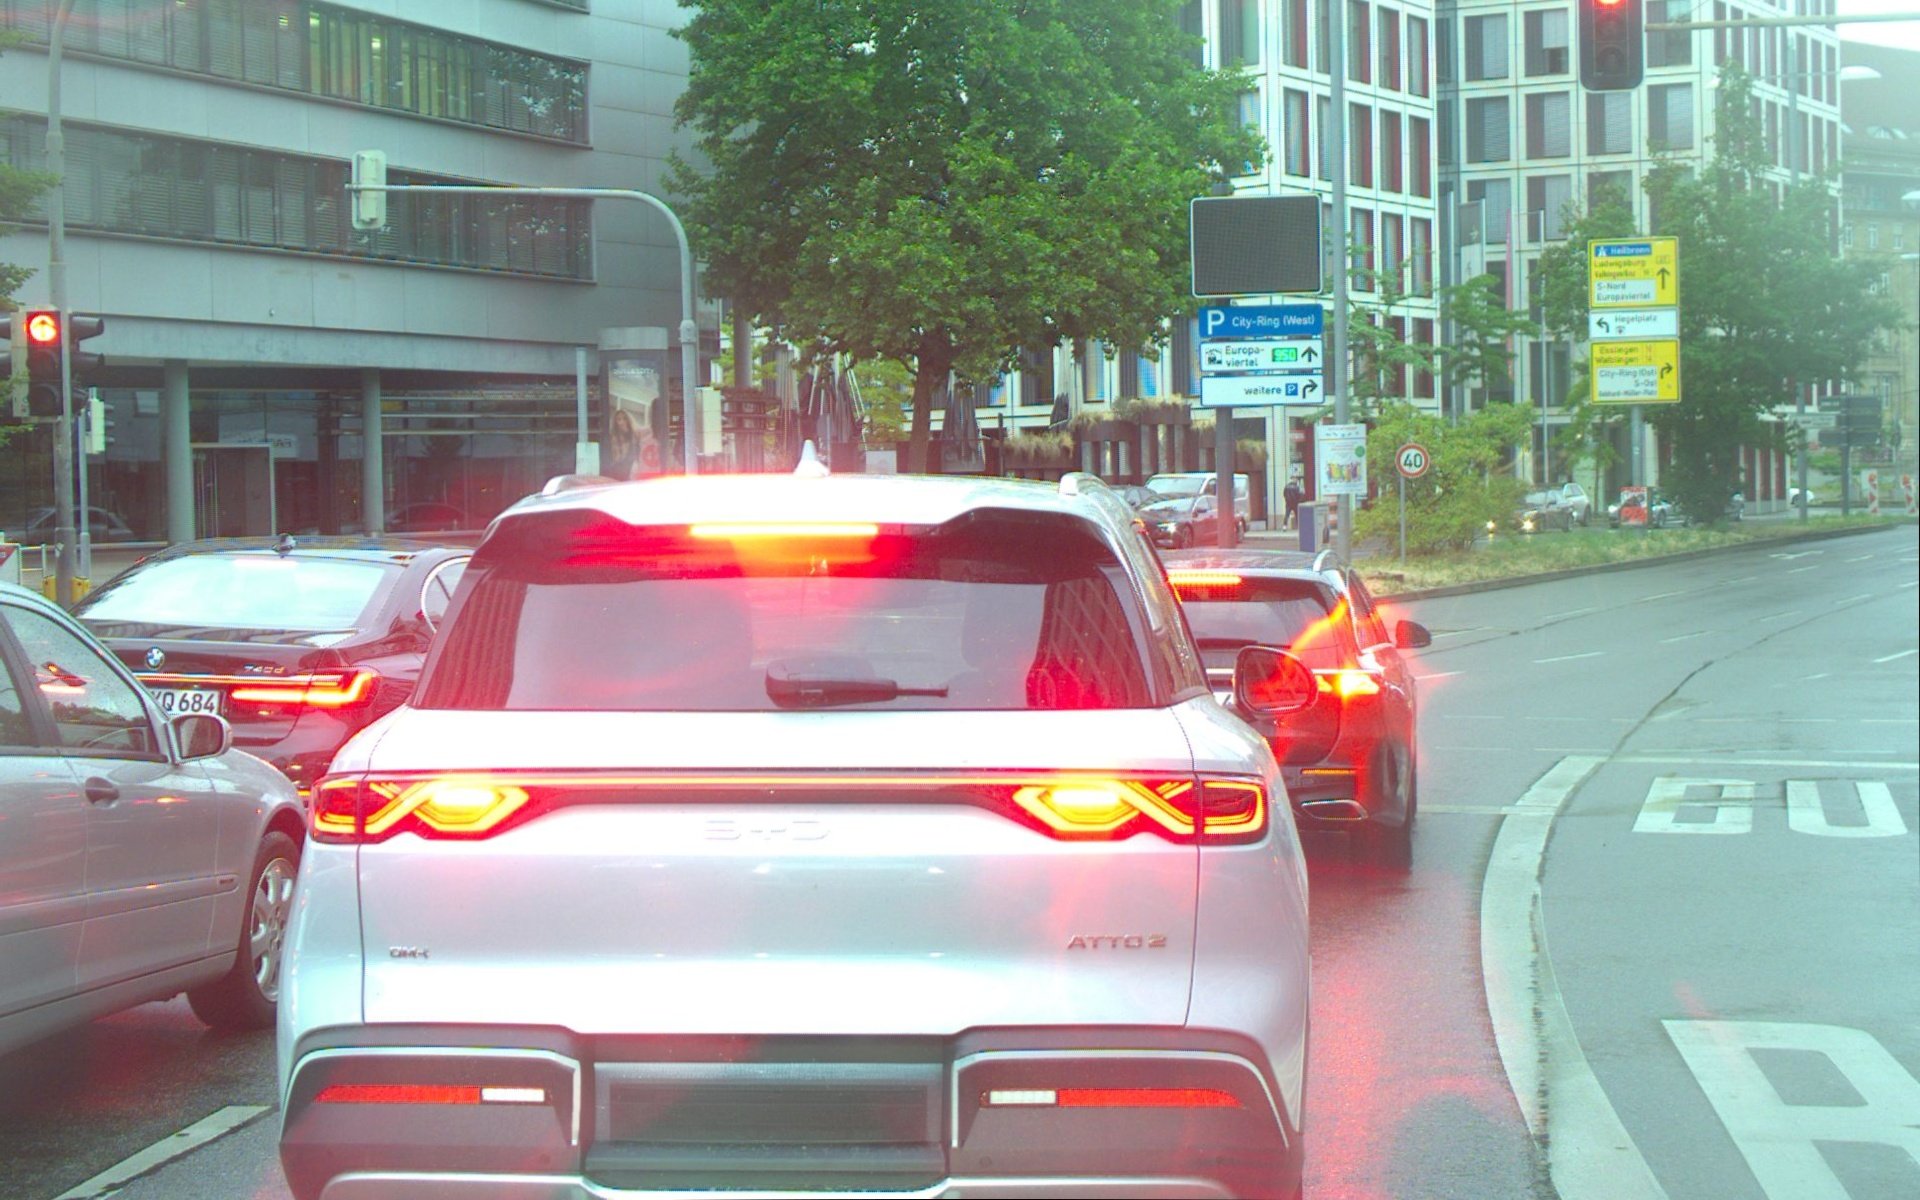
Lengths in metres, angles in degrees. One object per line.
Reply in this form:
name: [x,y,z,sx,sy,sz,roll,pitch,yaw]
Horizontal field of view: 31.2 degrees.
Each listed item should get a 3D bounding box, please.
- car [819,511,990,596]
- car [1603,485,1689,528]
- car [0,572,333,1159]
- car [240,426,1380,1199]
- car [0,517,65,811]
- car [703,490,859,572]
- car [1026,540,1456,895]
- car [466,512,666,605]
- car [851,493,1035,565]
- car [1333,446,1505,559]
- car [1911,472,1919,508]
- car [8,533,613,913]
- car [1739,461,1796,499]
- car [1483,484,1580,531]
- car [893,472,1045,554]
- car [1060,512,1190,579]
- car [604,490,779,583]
car: [-0.909,-0.783,58.774,1.692,1.380,3.865,1,1,19]
car: [24.405,-3.323,122.232,1.996,1.483,3.994,0,2,27]
car: [-3.024,0.632,8.888,1.571,1.402,4.108,1,1,7]
car: [-0.190,0.553,7.387,1.776,1.673,4.000,1,1,2]
car: [-5.878,0.323,16.264,1.707,1.481,3.998,1,1,9]
car: [-3.566,-1.373,69.123,1.640,1.565,3.714,1,1,23]
car: [1.472,0.477,16.626,1.694,1.481,3.998,1,1,10]
car: [-7.045,-0.774,61.866,1.995,1.605,3.996,1,1,20]
car: [-0.323,-1.595,75.790,1.816,1.505,5.188,0,2,28]
car: [8.700,-1.807,64.776,1.996,2.007,4.843,1,1,23]
car: [56.158,-6.218,194.926,3.992,2.007,1.997,1,1,26]
car: [-2.784,0.464,15.617,1.571,1.481,3.999,1,1,7]
car: [38.396,-5.705,163.496,1.609,1.735,3.439,1,1,32]
car: [18.547,-3.009,111.464,1.996,1.483,3.994,0,2,27]
car: [0.209,-1.730,68.393,1.645,1.575,4.081,1,1,21]
car: [4.057,-1.347,83.825,1.633,1.553,4.588,0,2,23]
car: [-4.585,-1.103,59.345,1.645,1.530,4.149,1,1,16]
